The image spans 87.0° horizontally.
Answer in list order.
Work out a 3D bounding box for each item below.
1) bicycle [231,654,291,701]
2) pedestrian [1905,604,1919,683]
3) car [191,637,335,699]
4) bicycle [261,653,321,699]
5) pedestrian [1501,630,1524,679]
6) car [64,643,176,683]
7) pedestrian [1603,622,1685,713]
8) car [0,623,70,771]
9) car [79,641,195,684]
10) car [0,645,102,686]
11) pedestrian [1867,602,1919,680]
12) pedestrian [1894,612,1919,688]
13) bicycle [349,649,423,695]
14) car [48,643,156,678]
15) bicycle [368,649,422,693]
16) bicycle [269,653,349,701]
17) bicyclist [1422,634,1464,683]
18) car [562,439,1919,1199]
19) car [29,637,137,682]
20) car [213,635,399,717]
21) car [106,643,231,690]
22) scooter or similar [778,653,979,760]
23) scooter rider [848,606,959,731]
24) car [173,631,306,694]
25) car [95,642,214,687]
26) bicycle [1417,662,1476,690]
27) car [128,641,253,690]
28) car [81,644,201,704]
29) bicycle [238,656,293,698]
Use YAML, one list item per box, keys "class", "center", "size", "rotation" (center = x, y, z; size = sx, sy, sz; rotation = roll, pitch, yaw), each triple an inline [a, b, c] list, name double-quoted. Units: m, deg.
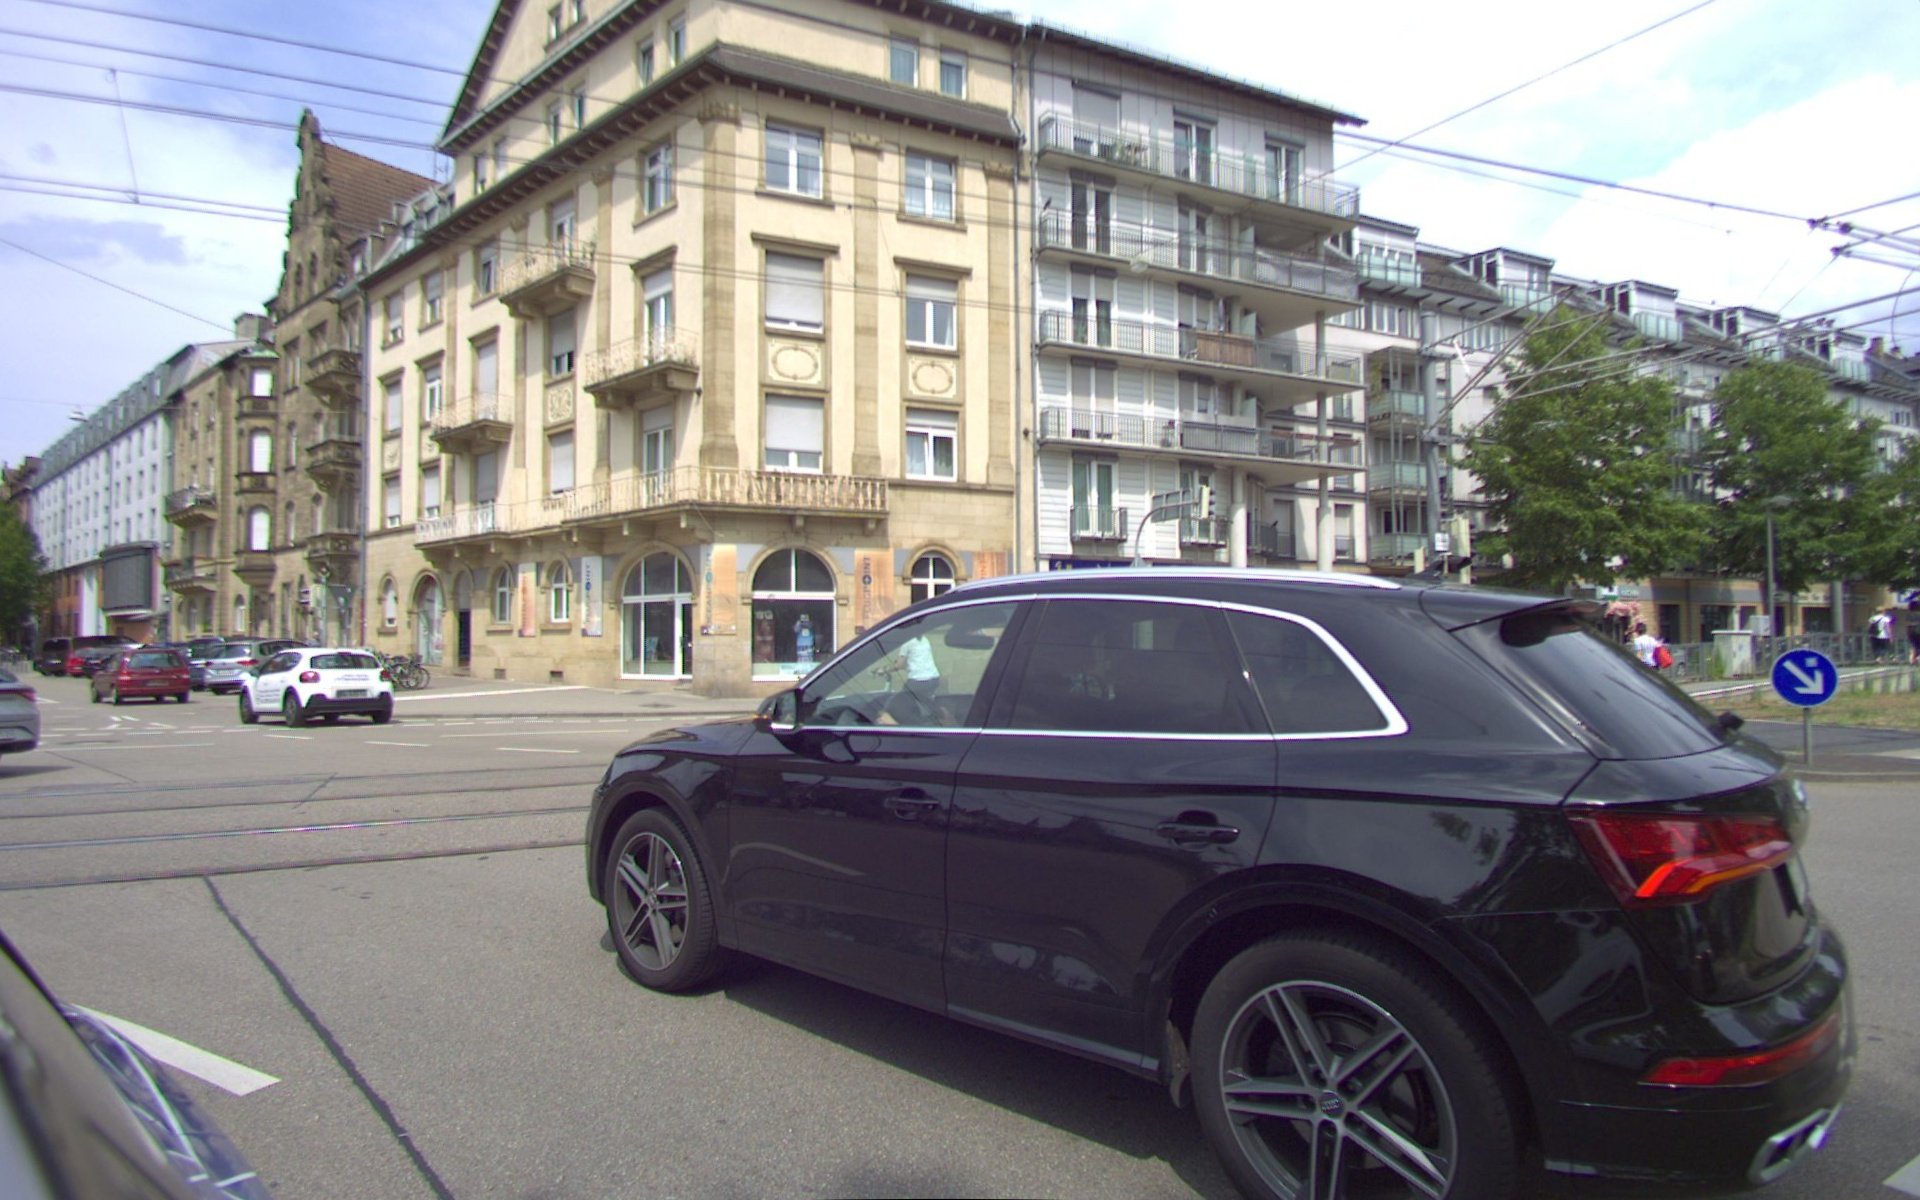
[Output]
- class: "bicycle"
  center: [-19.957, 2.202, 28.919]
  size: [0.397, 1.201, 1.328]
  rotation: [-3, 0, 39]
- class: "pedestrian"
  center: [24.793, 1.106, 25.783]
  size: [0.744, 2.029, 0.763]
  rotation: [1, -3, -25]
- class: "car"
  center: [-22.261, 2.125, 32.517]
  size: [1.735, 1.601, 4.034]
  rotation: [-4, 0, 1]
- class: "bicycle"
  center: [-19.032, 2.153, 28.811]
  size: [0.396, 1.201, 1.330]
  rotation: [-2, 0, 34]
- class: "pedestrian"
  center: [19.624, 1.931, 35.945]
  size: [0.557, 1.735, 0.519]
  rotation: [-1, -3, 18]
- class: "car"
  center: [-38.686, 2.875, 46.741]
  size: [1.738, 1.547, 3.821]
  rotation: [-4, 0, 6]
- class: "pedestrian"
  center: [12.150, 1.179, 17.993]
  size: [0.824, 1.564, 0.870]
  rotation: [1, -3, -26]
- class: "car"
  center: [-12.352, 1.019, 10.559]
  size: [4.785, 1.535, 1.766]
  rotation: [0, -2, 5]
- class: "car"
  center: [-36.157, 2.705, 44.598]
  size: [1.738, 1.547, 3.821]
  rotation: [-4, 0, 6]
- class: "car"
  center: [-45.881, 3.274, 50.998]
  size: [1.738, 1.698, 3.821]
  rotation: [-4, 0, 6]
- class: "pedestrian"
  center: [24.816, 1.079, 26.881]
  size: [0.744, 2.029, 0.763]
  rotation: [1, -3, -25]
- class: "pedestrian"
  center: [25.904, 1.344, 27.292]
  size: [0.744, 2.029, 0.763]
  rotation: [1, -3, -25]
- class: "bicycle"
  center: [-16.521, 2.057, 29.150]
  size: [0.397, 1.201, 1.807]
  rotation: [-4, -2, 39]
- class: "car"
  center: [-40.877, 2.862, 48.335]
  size: [1.737, 1.547, 3.821]
  rotation: [-1, -2, 6]
- class: "bicycle"
  center: [-16.639, 2.084, 29.822]
  size: [0.396, 1.201, 1.330]
  rotation: [-2, 0, 34]
- class: "bicycle"
  center: [-17.597, 2.071, 27.399]
  size: [0.397, 1.201, 1.799]
  rotation: [-3, -2, 37]
- class: "bicyclist"
  center: [14.831, 1.789, 31.060]
  size: [0.983, 1.455, 0.643]
  rotation: [1, -3, -25]
- class: "car"
  center: [0.552, 0.642, 3.598]
  size: [4.424, 1.660, 1.803]
  rotation: [-2, -2, 40]
- class: "car"
  center: [-43.099, 2.892, 49.839]
  size: [1.738, 1.908, 3.821]
  rotation: [-4, 0, 6]
- class: "car"
  center: [-12.888, 1.436, 19.868]
  size: [4.234, 1.442, 1.718]
  rotation: [-2, -3, 37]
- class: "car"
  center: [-31.500, 2.619, 40.401]
  size: [1.738, 1.547, 3.821]
  rotation: [-4, 0, 6]
- class: "scooter or similar"
  center: [-1.042, 1.218, 12.137]
  size: [2.686, 1.147, 0.731]
  rotation: [-3, -3, 41]
- class: "scooter rider"
  center: [-0.670, 0.783, 11.820]
  size: [1.086, 1.387, 0.731]
  rotation: [-3, -3, 41]
- class: "car"
  center: [-24.690, 2.098, 34.863]
  size: [1.735, 1.832, 3.826]
  rotation: [-3, 0, 1]
- class: "car"
  center: [-34.054, 2.696, 42.896]
  size: [1.738, 1.547, 3.821]
  rotation: [-4, 0, 6]
- class: "bicycle"
  center: [14.944, 2.322, 31.095]
  size: [1.760, 0.822, 0.654]
  rotation: [1, -3, -25]
- class: "car"
  center: [-29.253, 2.462, 38.624]
  size: [1.735, 1.547, 3.826]
  rotation: [-4, 0, 1]
- class: "car"
  center: [-22.512, 1.982, 27.780]
  size: [3.996, 1.535, 1.745]
  rotation: [-2, -4, 39]
- class: "bicycle"
  center: [-20.596, 2.267, 30.031]
  size: [0.395, 1.201, 1.335]
  rotation: [-1, -2, 23]
